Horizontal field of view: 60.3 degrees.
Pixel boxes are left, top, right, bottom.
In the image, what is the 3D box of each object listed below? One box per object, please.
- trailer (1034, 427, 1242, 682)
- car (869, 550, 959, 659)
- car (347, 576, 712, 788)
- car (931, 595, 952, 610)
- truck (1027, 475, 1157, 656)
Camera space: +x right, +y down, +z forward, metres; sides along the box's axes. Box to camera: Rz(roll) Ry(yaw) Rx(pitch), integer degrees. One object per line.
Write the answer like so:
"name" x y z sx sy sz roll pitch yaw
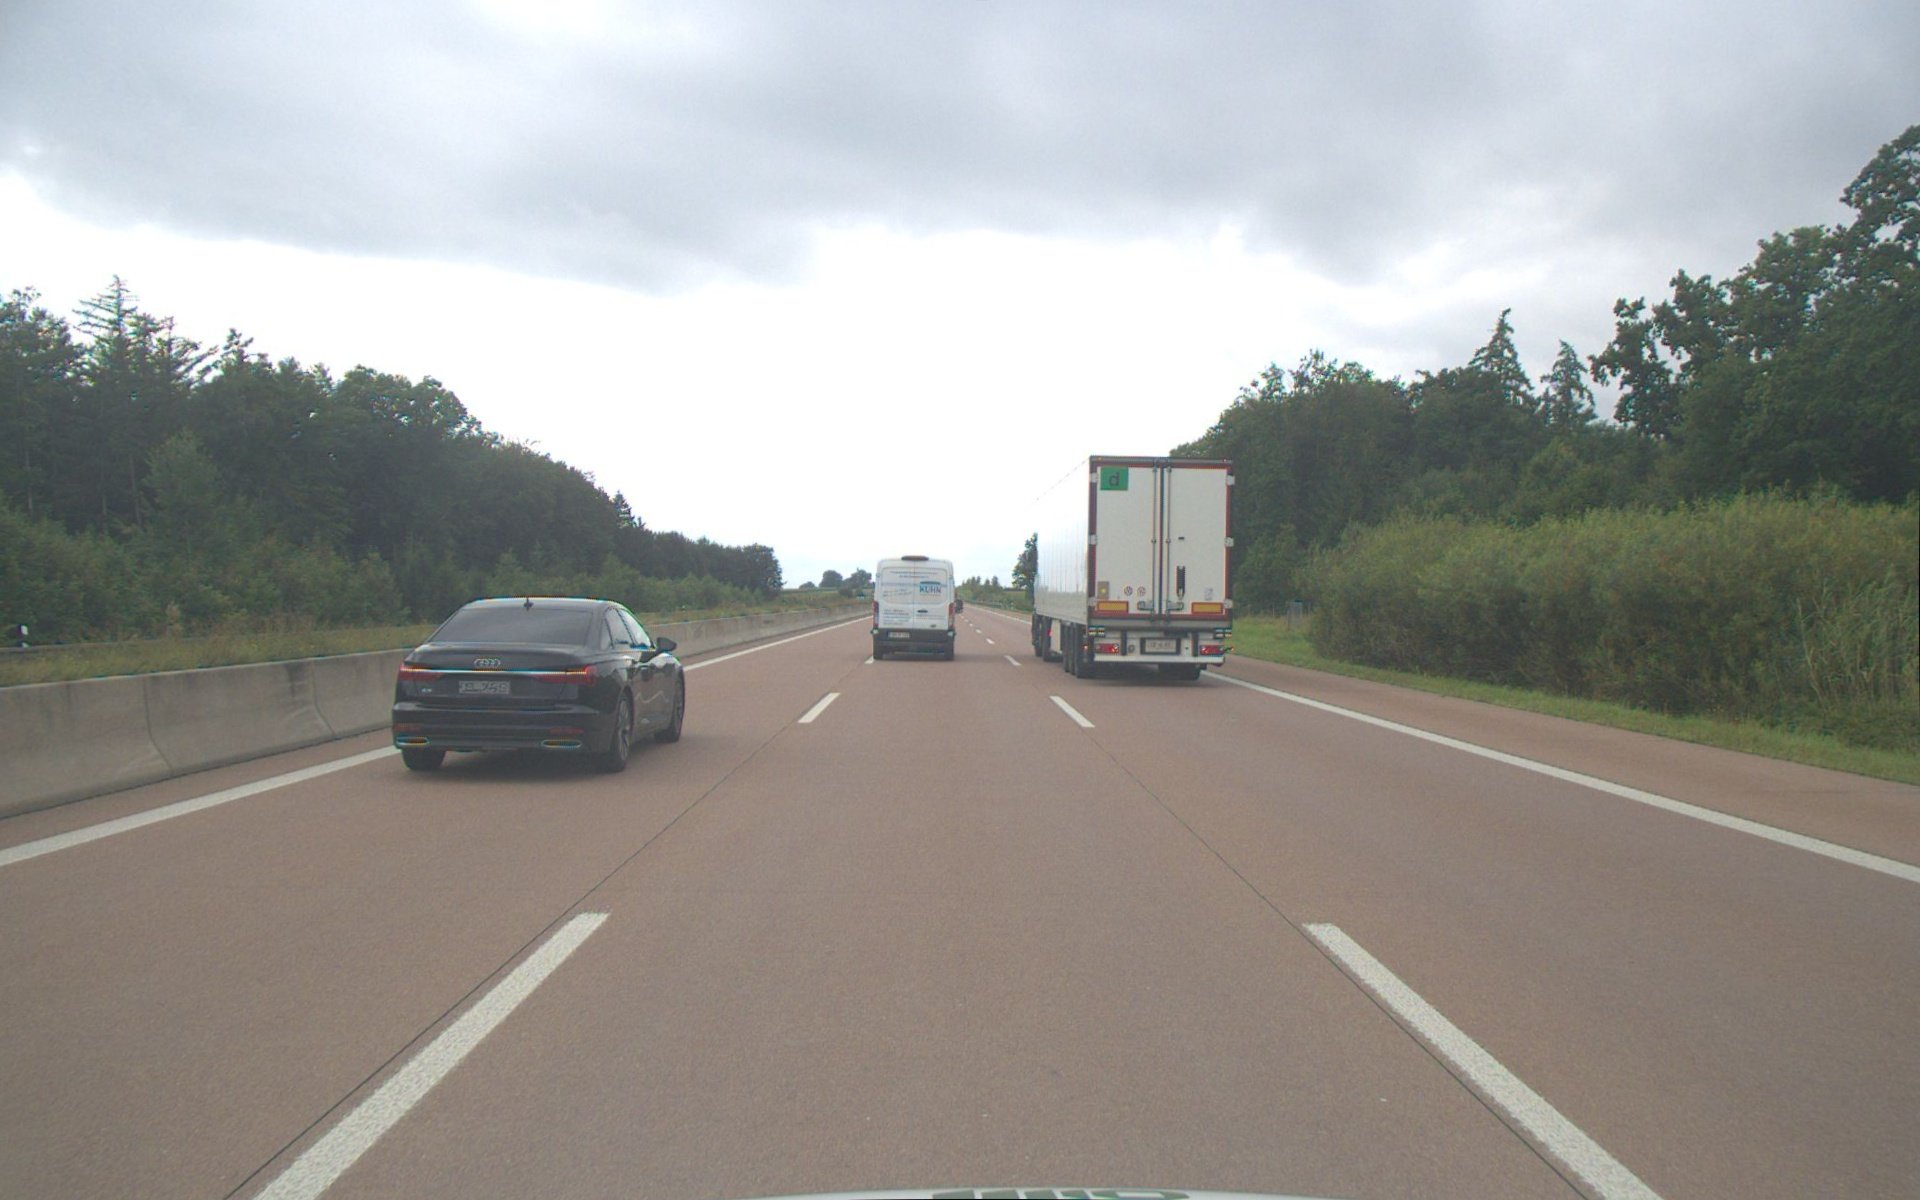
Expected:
"trailer" 3.373 -0.793 35.298 2.862 4.369 13.612 0 0 0
"car" -1.111 0.064 42.427 2.094 2.551 7.131 0 1 0
"car" -3.702 0.602 15.448 2.043 1.577 5.672 1 0 -2
"car" -2.021 0.242 181.621 2.119 1.476 4.719 2 1 1
"truck" 3.312 -0.837 42.783 2.862 4.369 5.334 0 0 -1
